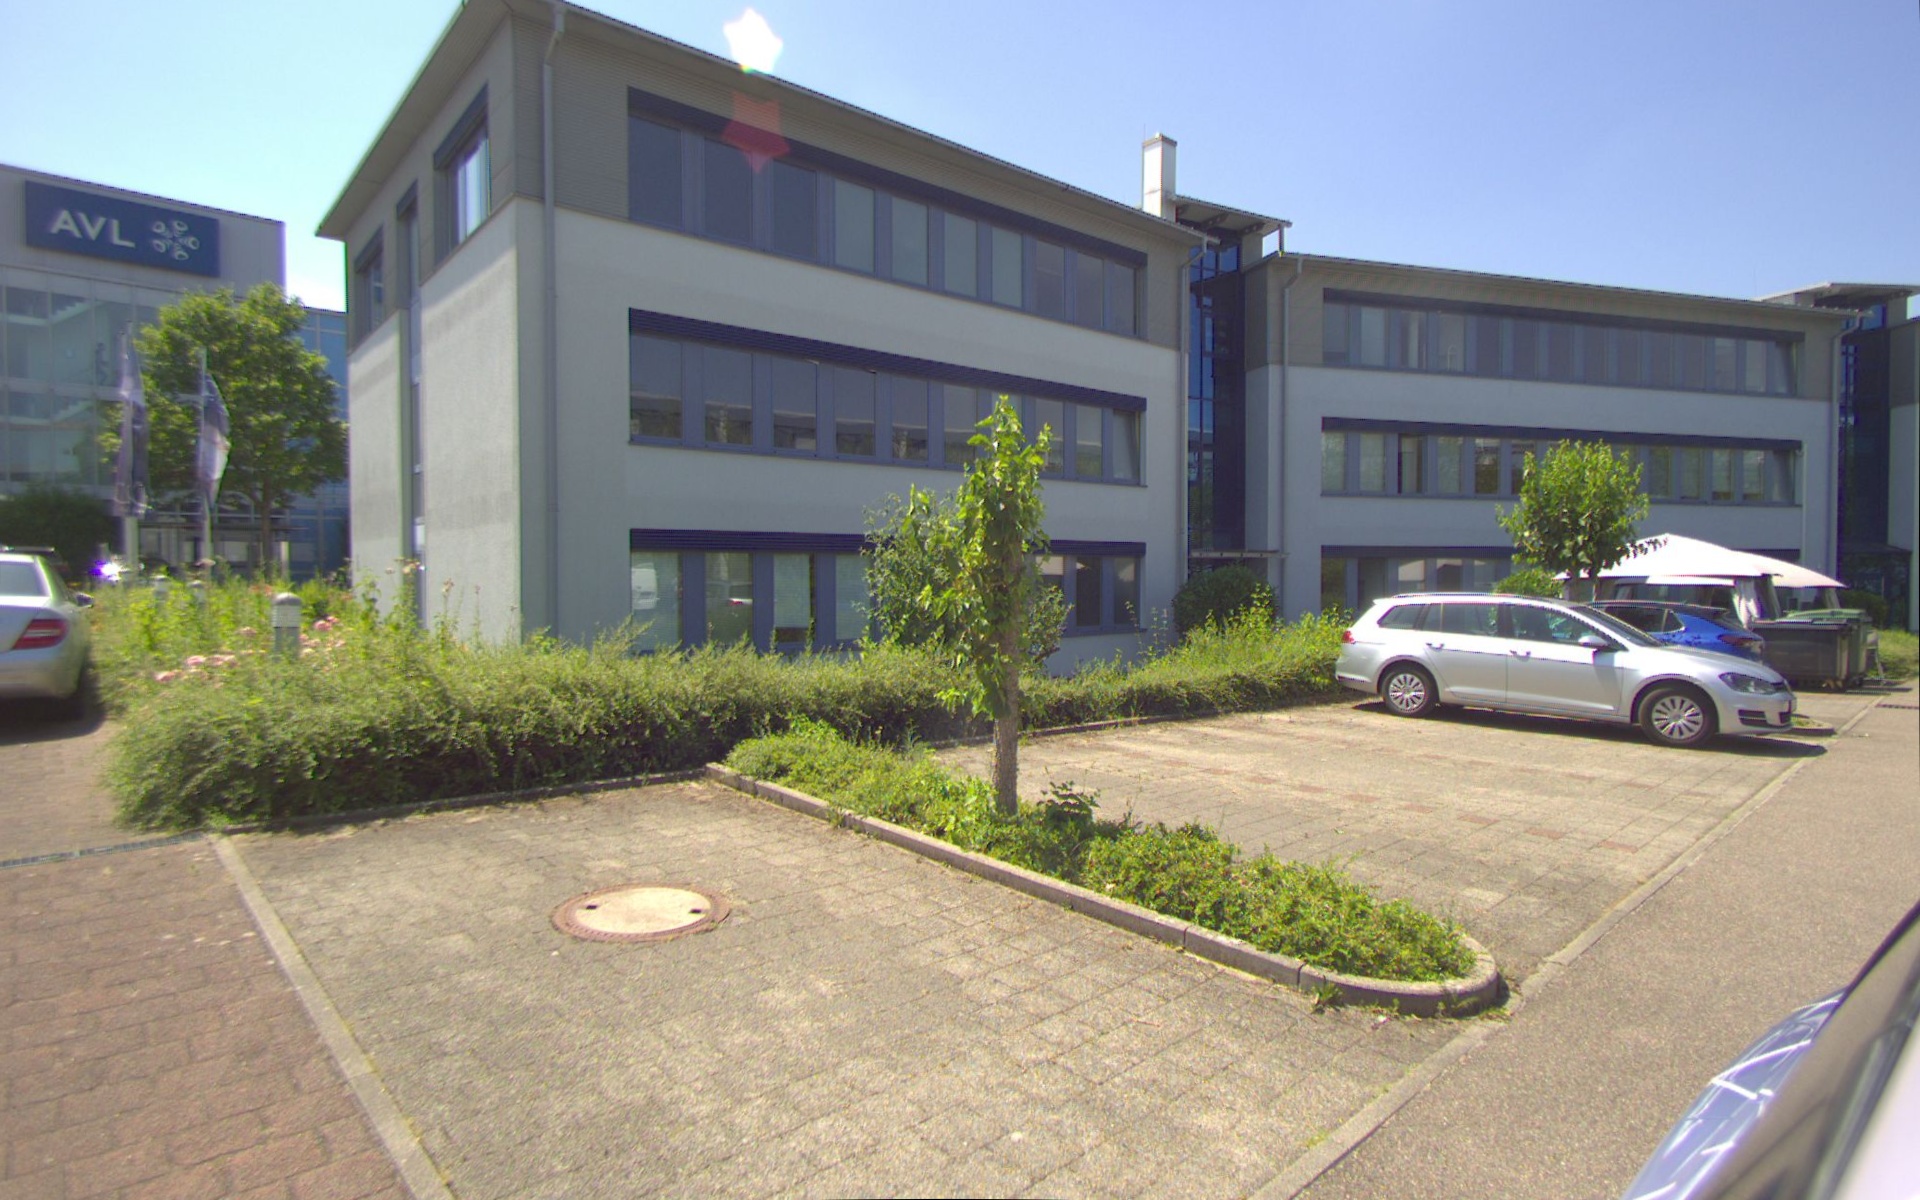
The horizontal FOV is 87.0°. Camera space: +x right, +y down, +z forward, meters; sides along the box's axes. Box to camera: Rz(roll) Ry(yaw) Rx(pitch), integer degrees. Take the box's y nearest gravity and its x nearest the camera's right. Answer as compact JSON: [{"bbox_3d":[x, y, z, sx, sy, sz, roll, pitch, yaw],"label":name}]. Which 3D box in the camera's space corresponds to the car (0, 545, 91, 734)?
[{"bbox_3d":[-8.878,0.273,8.955,1.700,1.454,3.709,0,1,-42],"label":"car"}]

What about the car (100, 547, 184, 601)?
[{"bbox_3d":[-25.291,-0.793,31.242,1.720,1.538,3.991,0,1,-43],"label":"car"}]

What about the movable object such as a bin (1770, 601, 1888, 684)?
[{"bbox_3d":[14.878,0.693,17.335,1.024,1.312,1.363,0,1,-38],"label":"movable object such as a bin"}]

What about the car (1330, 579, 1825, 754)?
[{"bbox_3d":[6.809,0.574,11.556,1.799,1.516,4.510,0,2,-44],"label":"car"}]

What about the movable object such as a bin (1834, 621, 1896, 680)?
[{"bbox_3d":[15.810,0.871,17.686,0.709,0.961,0.690,0,1,-39],"label":"movable object such as a bin"}]

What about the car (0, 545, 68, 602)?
[{"bbox_3d":[-27.285,-0.764,29.550,1.720,1.538,3.991,0,1,-43],"label":"car"}]

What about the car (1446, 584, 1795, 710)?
[{"bbox_3d":[9.121,0.540,14.193,1.625,1.409,3.818,0,2,-44],"label":"car"}]

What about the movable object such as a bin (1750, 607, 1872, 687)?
[{"bbox_3d":[14.030,0.745,16.700,0.979,1.204,1.363,0,1,-38],"label":"movable object such as a bin"}]
